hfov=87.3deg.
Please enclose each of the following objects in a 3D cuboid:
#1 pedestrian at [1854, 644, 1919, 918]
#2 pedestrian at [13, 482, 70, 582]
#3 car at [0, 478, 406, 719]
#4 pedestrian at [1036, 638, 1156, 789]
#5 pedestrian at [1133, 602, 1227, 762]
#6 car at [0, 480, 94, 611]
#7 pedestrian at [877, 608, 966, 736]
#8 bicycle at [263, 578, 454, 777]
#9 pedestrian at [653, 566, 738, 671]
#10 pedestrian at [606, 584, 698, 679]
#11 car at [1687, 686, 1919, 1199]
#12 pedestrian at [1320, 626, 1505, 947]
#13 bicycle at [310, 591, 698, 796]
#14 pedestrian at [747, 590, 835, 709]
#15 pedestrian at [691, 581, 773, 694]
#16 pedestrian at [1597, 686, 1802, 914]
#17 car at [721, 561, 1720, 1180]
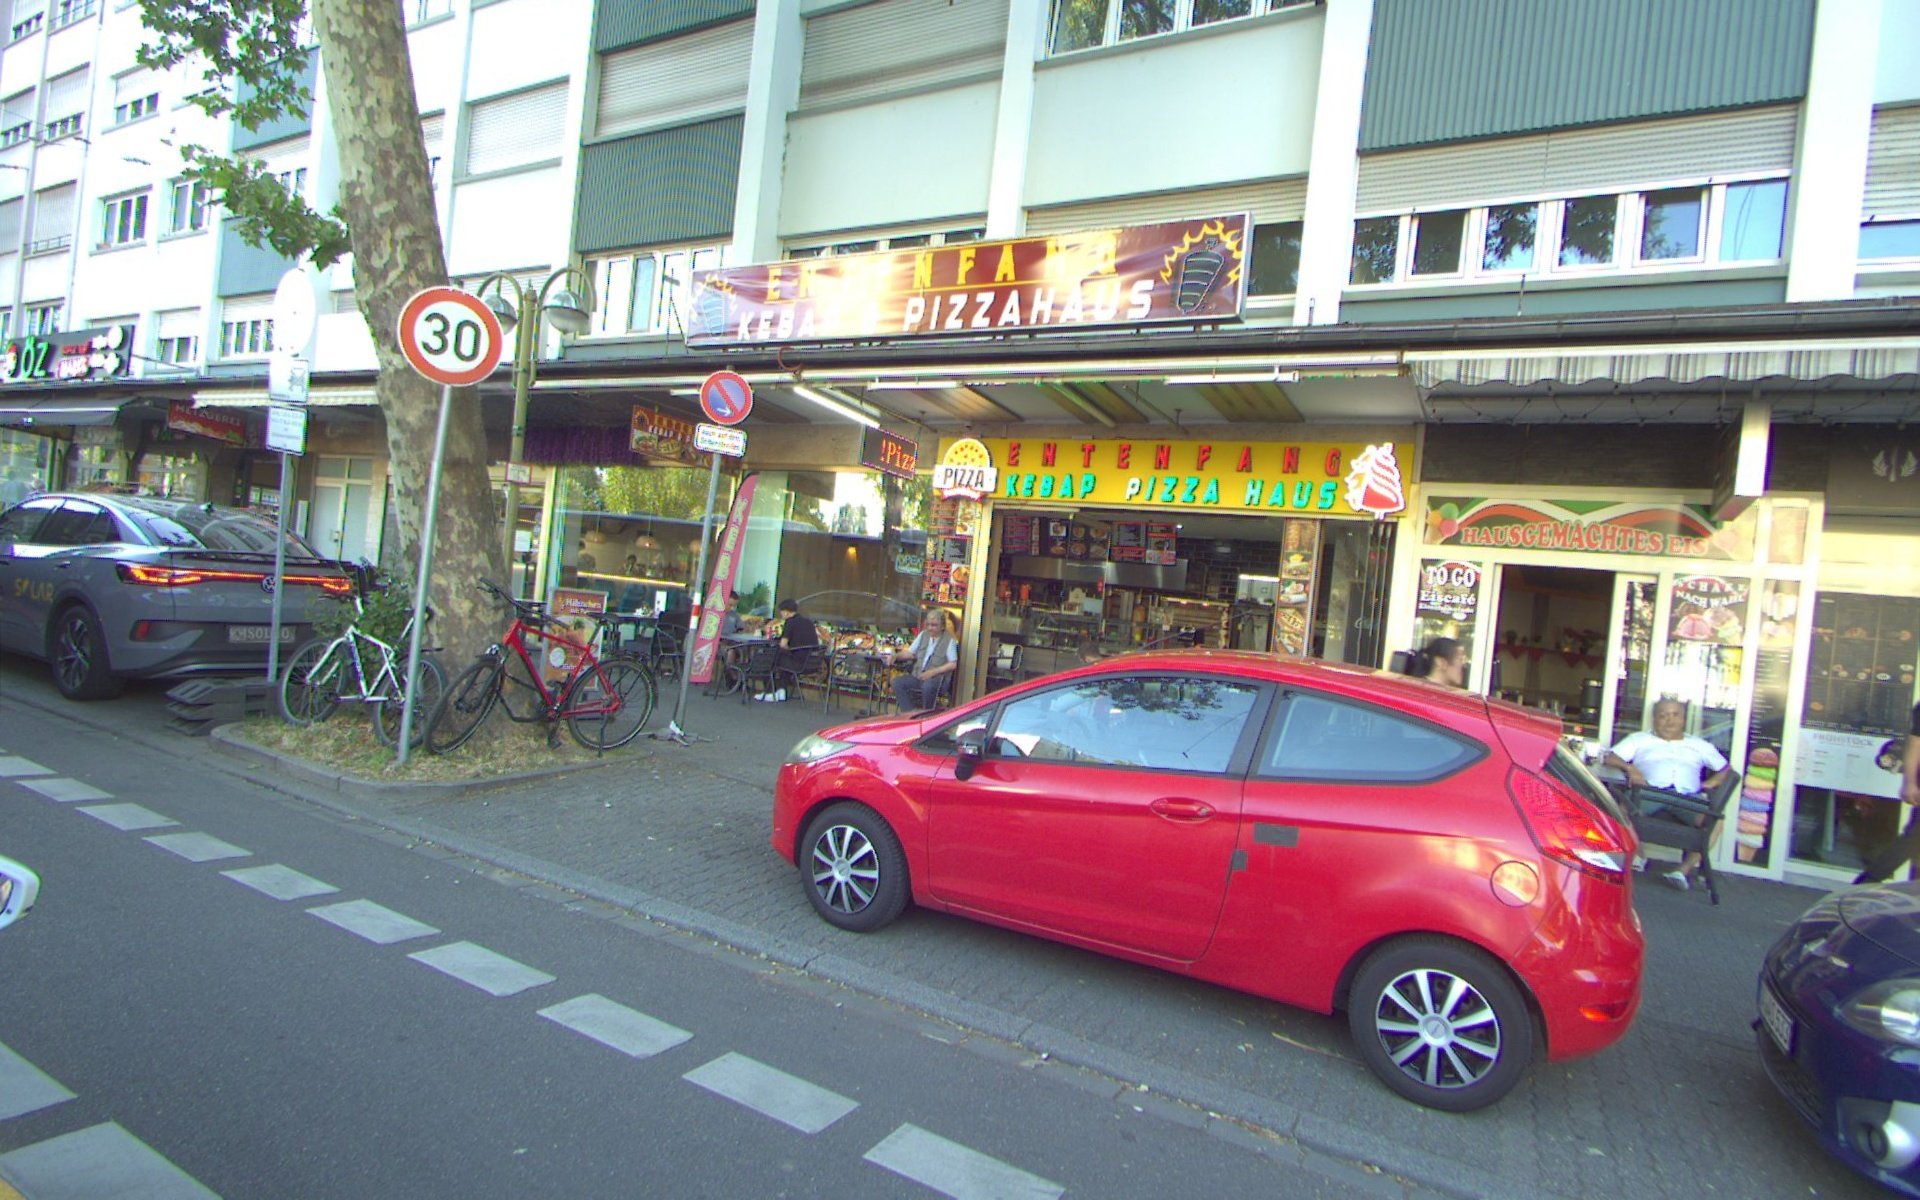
[{"bbox_3d":[6.573,1.223,6.818,0.547,1.802,0.395,6,2,29],"label":"pedestrian"},{"bbox_3d":[-16.378,-1.210,17.949,0.661,1.688,0.593,4,2,-42],"label":"pedestrian"},{"bbox_3d":[-7.342,-0.139,9.069,4.292,1.603,1.996,7,2,27],"label":"car"},{"bbox_3d":[1.258,1.010,9.243,0.798,1.225,0.654,7,2,28],"label":"pedestrian"},{"bbox_3d":[2.309,0.849,10.540,0.589,1.566,0.700,7,0,34],"label":"pedestrian"},{"bbox_3d":[-13.967,-0.912,13.531,4.292,1.603,1.996,7,2,27],"label":"car"},{"bbox_3d":[-0.405,0.751,10.693,0.550,1.252,0.689,7,2,29],"label":"pedestrian"},{"bbox_3d":[-4.235,0.508,7.054,1.421,1.169,0.553,6,0,36],"label":"bicycle"},{"bbox_3d":[-3.754,0.258,14.344,0.958,1.350,0.830,6,0,-9],"label":"pedestrian"},{"bbox_3d":[-3.979,0.402,13.054,0.940,1.094,0.639,7,0,-9],"label":"pedestrian"},{"bbox_3d":[4.341,1.263,2.692,3.549,1.488,1.767,6,3,29],"label":"car"},{"bbox_3d":[2.653,1.036,5.892,0.783,1.667,0.583,6,0,30],"label":"pedestrian"},{"bbox_3d":[-3.013,0.561,6.915,0.547,1.171,2.377,7,4,44],"label":"bicycle"},{"bbox_3d":[-1.931,0.558,11.498,0.679,1.261,0.558,7,2,33],"label":"pedestrian"},{"bbox_3d":[-2.758,0.450,12.156,0.680,1.261,0.557,7,2,38],"label":"pedestrian"},{"bbox_3d":[5.223,1.352,7.203,0.937,1.352,1.069,7,0,30],"label":"pedestrian"},{"bbox_3d":[0.971,0.816,4.732,3.757,1.617,1.782,6,3,28],"label":"car"}]
